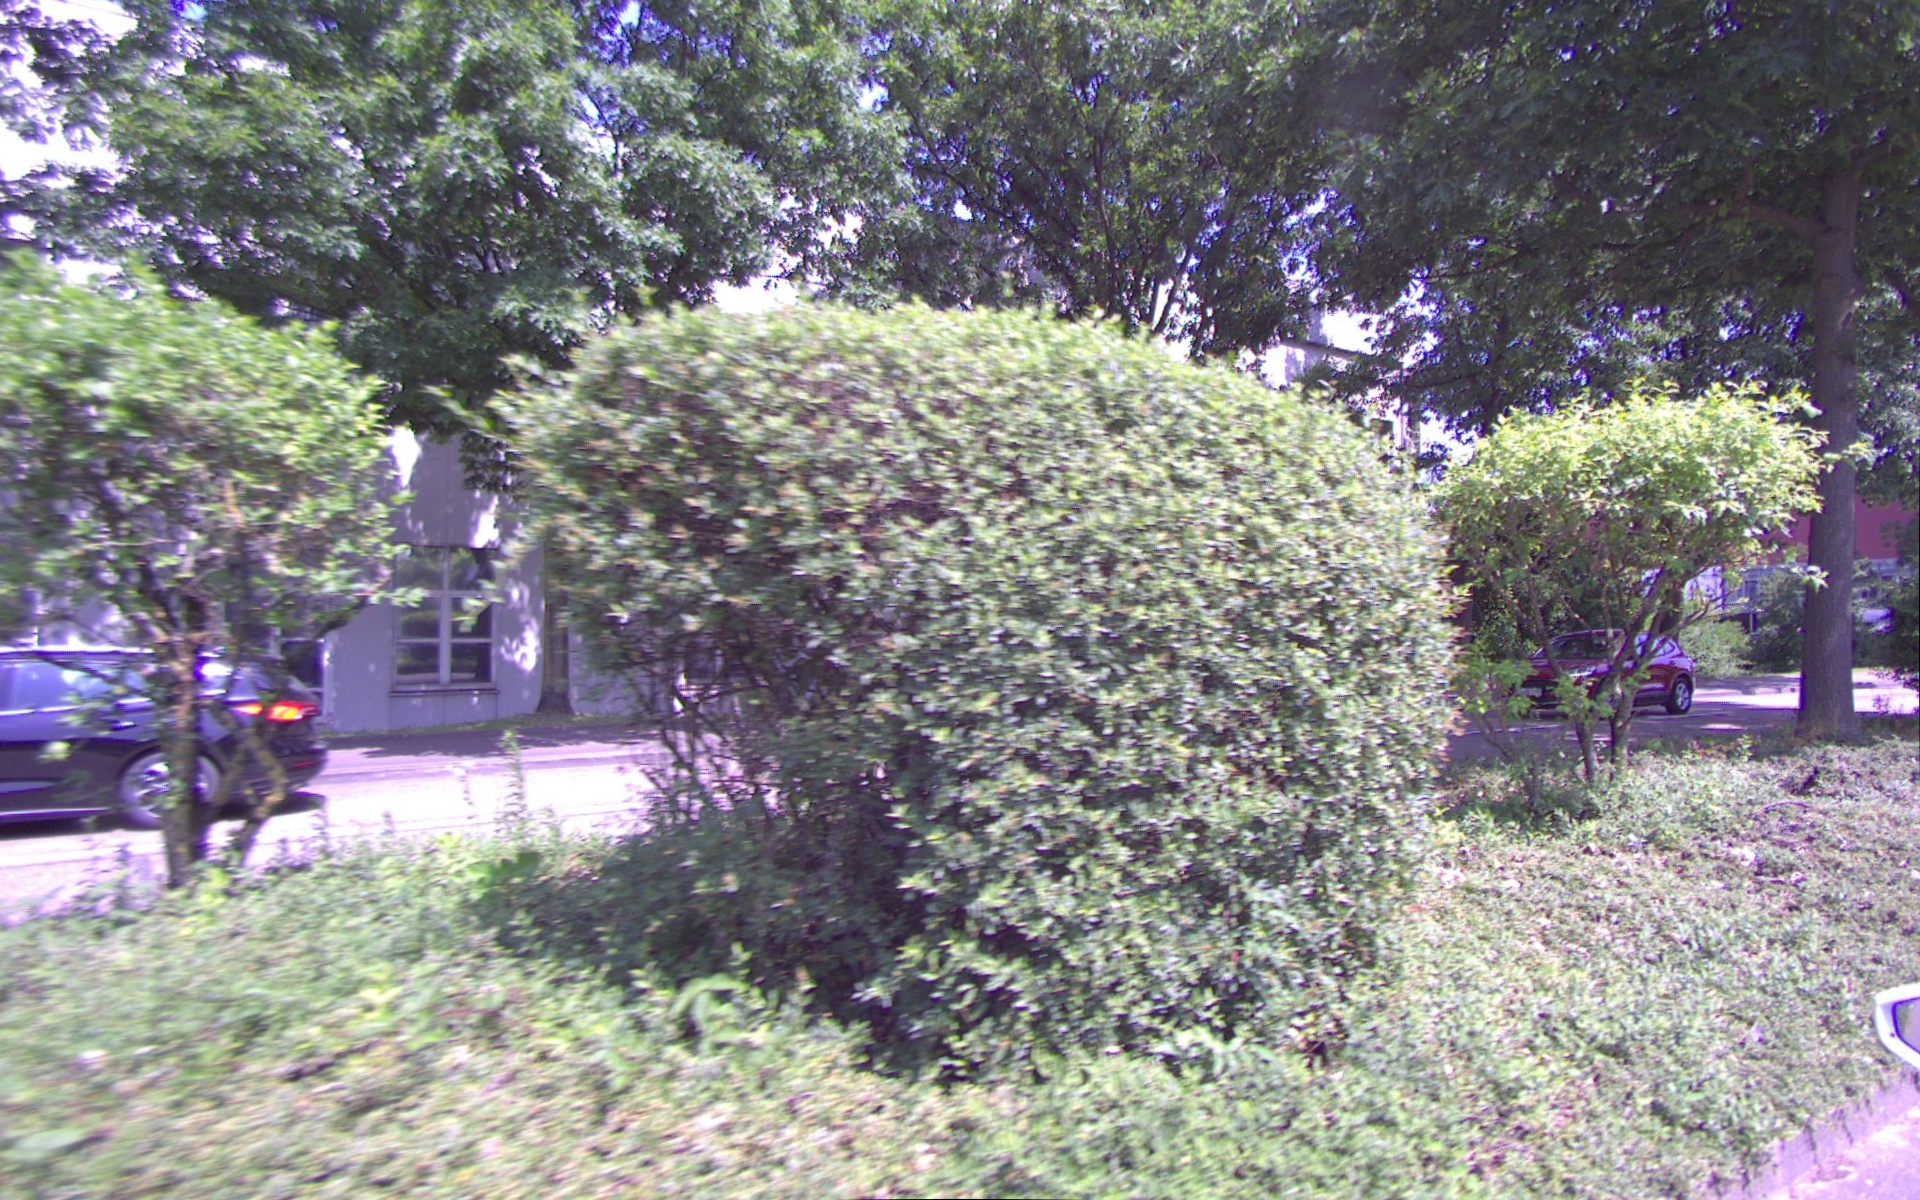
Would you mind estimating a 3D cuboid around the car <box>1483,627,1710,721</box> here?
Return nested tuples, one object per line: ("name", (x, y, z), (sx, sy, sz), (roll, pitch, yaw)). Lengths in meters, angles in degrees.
("car", (12.453, 1.378, 19.600), (4.465, 1.657, 1.813), (1, -3, -29))

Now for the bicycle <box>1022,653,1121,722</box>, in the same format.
("bicycle", (1.957, 1.507, 17.540), (1.741, 1.134, 0.519), (2, -1, -30))

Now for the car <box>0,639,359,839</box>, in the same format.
("car", (-7.974, 1.091, 8.216), (5.179, 1.470, 2.117), (1, -4, -30))

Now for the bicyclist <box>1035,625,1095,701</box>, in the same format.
("bicyclist", (1.827, 1.087, 17.489), (0.803, 1.269, 0.641), (2, -1, -30))
